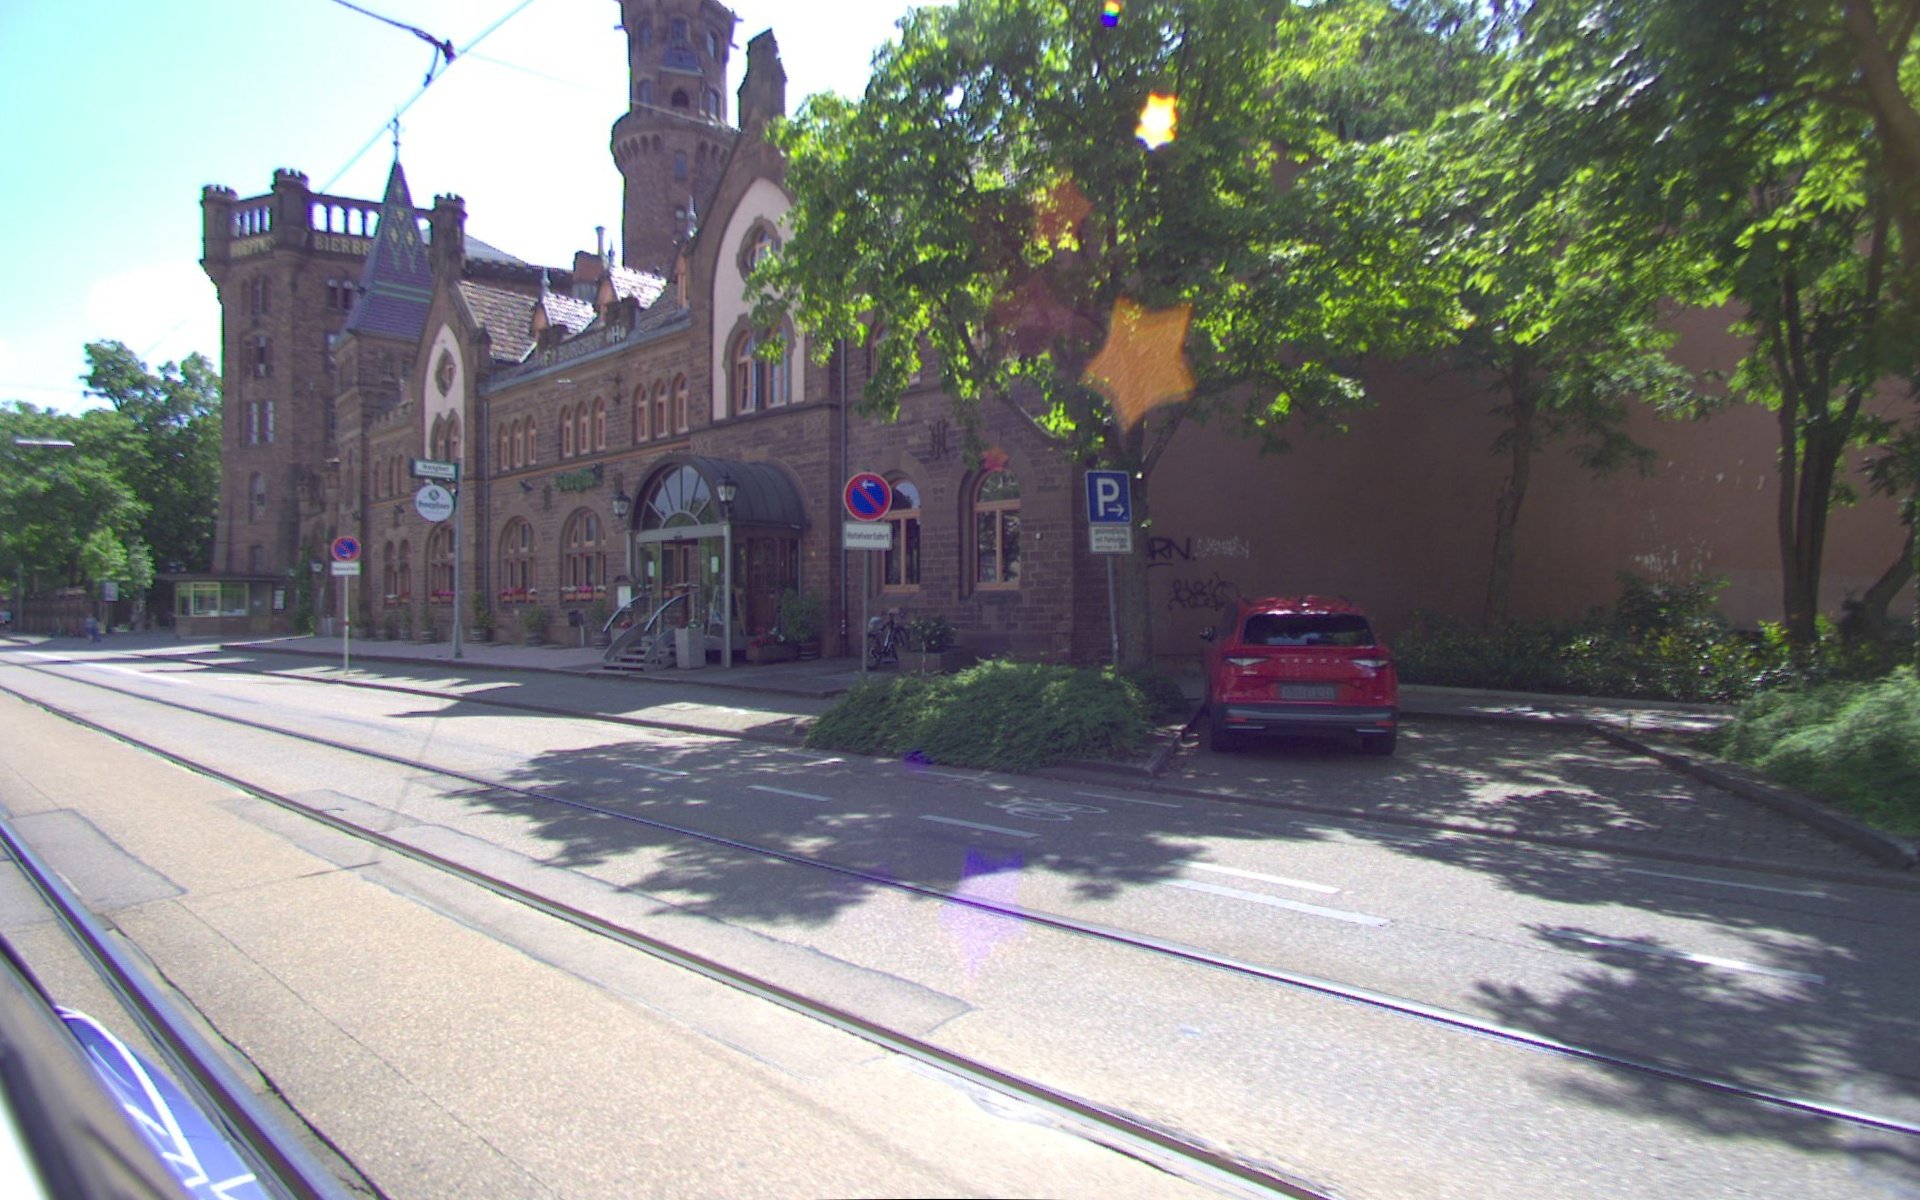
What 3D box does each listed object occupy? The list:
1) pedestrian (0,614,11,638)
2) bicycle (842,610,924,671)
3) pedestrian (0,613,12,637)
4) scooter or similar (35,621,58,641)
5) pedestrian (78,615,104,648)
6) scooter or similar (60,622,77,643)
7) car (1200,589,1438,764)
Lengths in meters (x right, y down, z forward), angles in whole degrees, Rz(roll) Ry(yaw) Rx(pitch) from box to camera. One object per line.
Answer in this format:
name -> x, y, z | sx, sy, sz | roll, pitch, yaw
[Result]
pedestrian -> -73.694, 1.982, 77.981 | 0.919, 1.790, 0.670 | -1, 2, 41
bicycle -> -1.383, 0.725, 18.637 | 0.594, 0.897, 1.986 | -2, 4, 24
pedestrian -> -72.222, 1.906, 76.427 | 0.919, 1.790, 0.745 | -1, 2, 41
scooter or similar -> -54.168, 1.829, 60.023 | 0.343, 1.135, 1.227 | -1, 1, -6
pedestrian -> -44.525, 1.599, 51.853 | 0.919, 1.600, 0.791 | -1, 2, 41
scooter or similar -> -51.227, 1.850, 58.147 | 0.324, 1.135, 1.227 | -1, 0, -21
car -> 3.845, 0.703, 11.695 | 1.981, 1.578, 4.761 | -1, 0, 12
